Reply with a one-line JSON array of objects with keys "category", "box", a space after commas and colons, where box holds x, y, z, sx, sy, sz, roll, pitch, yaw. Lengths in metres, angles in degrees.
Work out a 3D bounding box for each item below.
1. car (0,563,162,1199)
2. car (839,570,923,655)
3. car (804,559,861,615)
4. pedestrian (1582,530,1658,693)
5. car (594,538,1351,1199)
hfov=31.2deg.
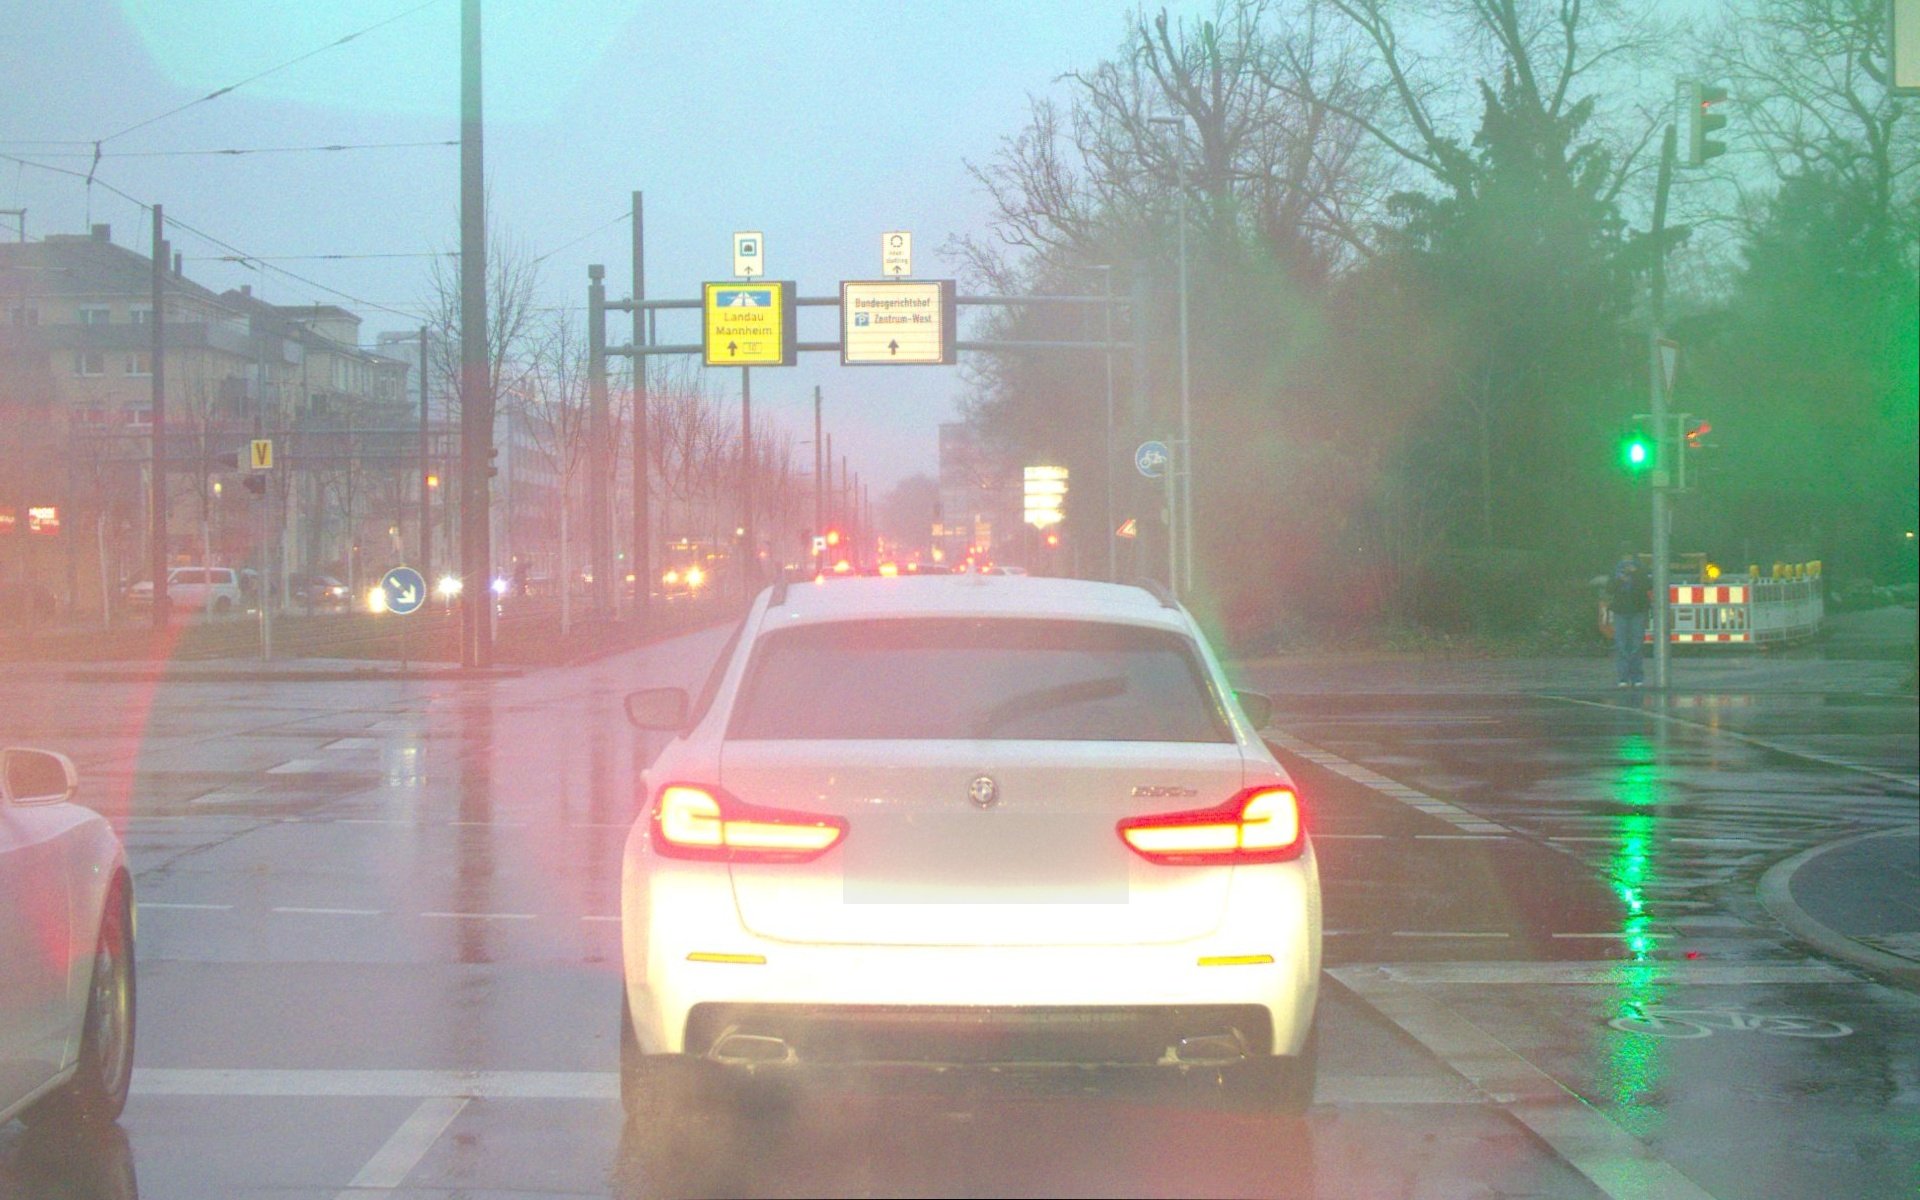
[{"category": "car", "box": [-2.968, 0.648, 7.226, 1.759, 1.464, 4.252, 1, 1, -3]}, {"category": "car", "box": [-1.916, 0.290, 84.290, 1.993, 2.007, 4.000, 1, 1, -1]}, {"category": "car", "box": [-4.755, -0.493, 128.368, 1.993, 2.007, 4.000, 1, 1, -1]}, {"category": "pedestrian", "box": [7.663, 0.127, 39.951, 0.673, 1.873, 0.715, 1, 0, -4]}, {"category": "car", "box": [-0.067, 0.619, 10.201, 1.759, 1.547, 4.252, 1, 1, -3]}]
